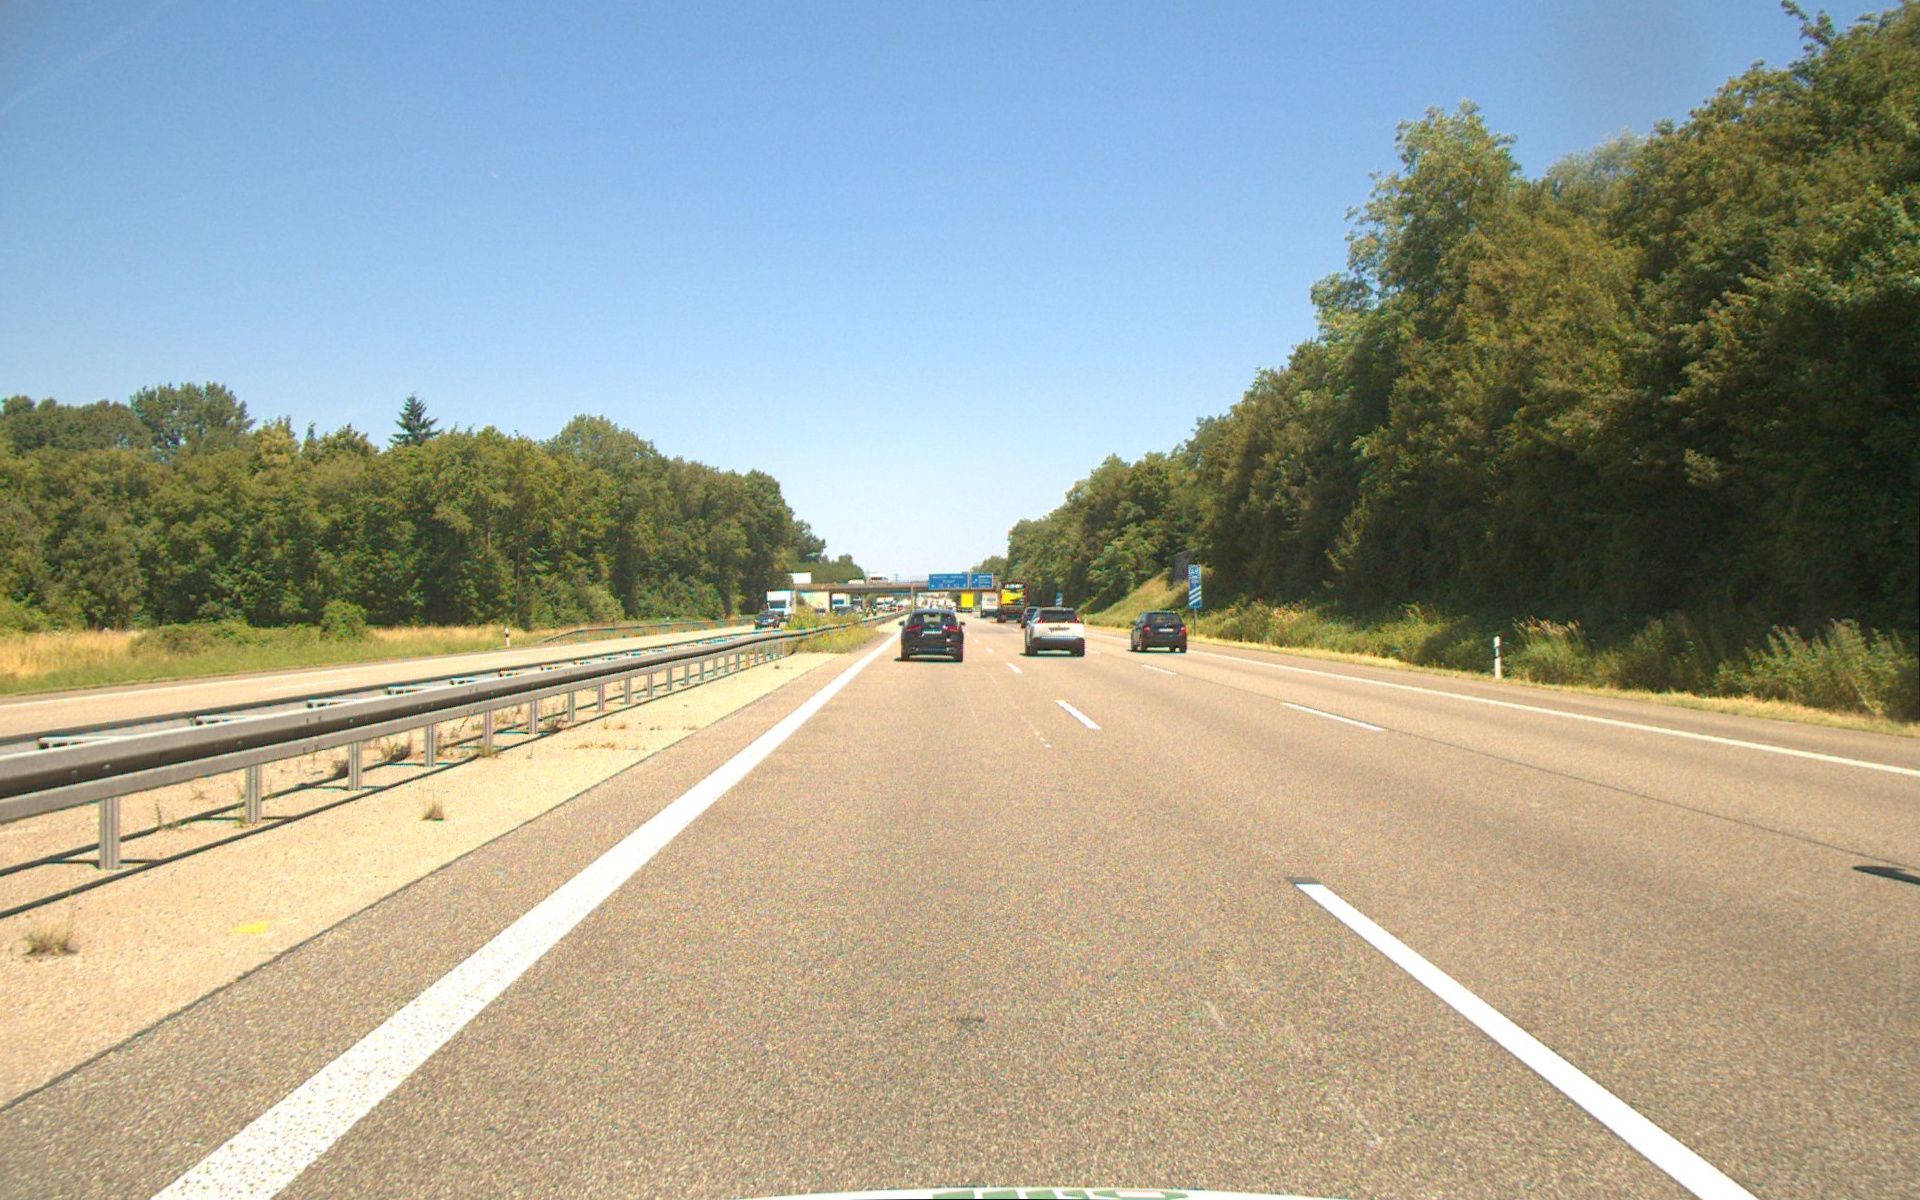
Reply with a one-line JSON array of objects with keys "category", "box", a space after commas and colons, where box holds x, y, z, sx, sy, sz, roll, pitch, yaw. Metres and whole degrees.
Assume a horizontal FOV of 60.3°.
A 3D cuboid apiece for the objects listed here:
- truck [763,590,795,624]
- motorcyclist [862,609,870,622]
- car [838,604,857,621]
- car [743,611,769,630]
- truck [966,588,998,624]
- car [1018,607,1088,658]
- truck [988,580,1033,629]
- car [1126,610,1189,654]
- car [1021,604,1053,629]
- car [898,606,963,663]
[{"category": "truck", "box": [-20.672, 0.830, 189.645, 2.739, 3.696, 10.692, -1, 0, -2]}, {"category": "motorcyclist", "box": [-13.318, 2.250, 234.511, 1.129, 1.847, 1.027, -1, -1, -1]}, {"category": "car", "box": [-11.807, 1.279, 174.025, 1.763, 1.725, 4.240, 1, 0, -1]}, {"category": "car", "box": [-17.162, 1.700, 139.568, 1.763, 1.559, 4.676, 1, 0, -2]}, {"category": "truck", "box": [3.022, 0.900, 229.994, 3.574, 4.670, 17.239, 1, -1, -2]}, {"category": "car", "box": [2.970, 1.022, 53.651, 1.861, 1.559, 4.239, 1, 0, -2]}, {"category": "truck", "box": [5.054, 0.506, 169.119, 3.574, 4.670, 15.759, 1, -1, -2]}, {"category": "car", "box": [7.059, 1.131, 59.415, 1.753, 1.487, 3.949, 1, 0, 0]}, {"category": "car", "box": [5.677, 1.236, 122.552, 2.034, 1.781, 4.239, -1, 0, -2]}, {"category": "car", "box": [-0.871, 0.959, 47.063, 1.763, 1.528, 4.239, 1, 0, -2]}]
